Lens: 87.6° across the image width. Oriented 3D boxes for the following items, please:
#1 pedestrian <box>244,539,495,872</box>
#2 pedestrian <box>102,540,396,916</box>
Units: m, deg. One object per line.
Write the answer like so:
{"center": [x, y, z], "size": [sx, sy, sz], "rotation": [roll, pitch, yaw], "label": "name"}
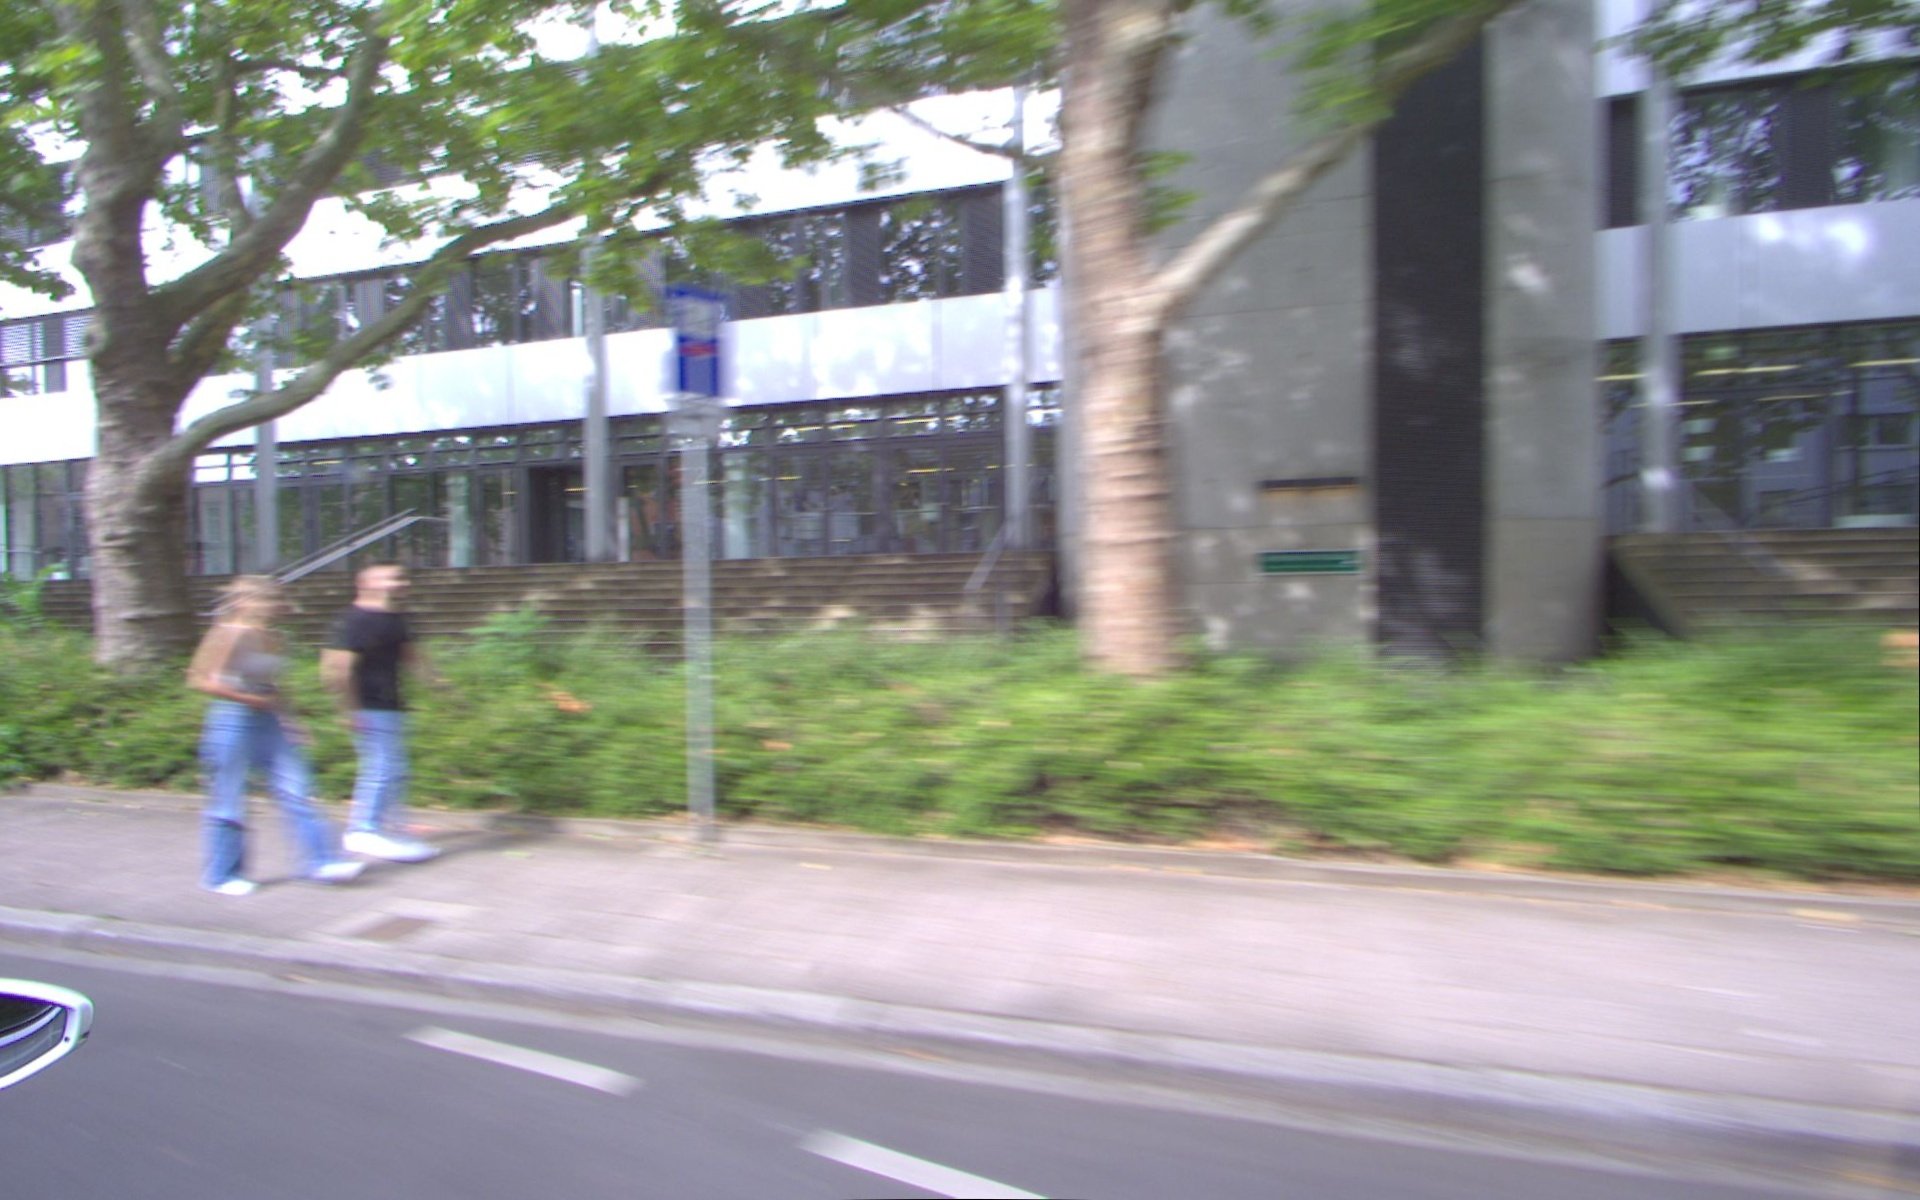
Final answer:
{"center": [-3.472, 0.580, 5.943], "size": [1.015, 1.824, 0.716], "rotation": [-1, 2, 16], "label": "pedestrian"}
{"center": [-3.703, 0.617, 5.264], "size": [1.015, 1.808, 0.711], "rotation": [-1, 2, 16], "label": "pedestrian"}
